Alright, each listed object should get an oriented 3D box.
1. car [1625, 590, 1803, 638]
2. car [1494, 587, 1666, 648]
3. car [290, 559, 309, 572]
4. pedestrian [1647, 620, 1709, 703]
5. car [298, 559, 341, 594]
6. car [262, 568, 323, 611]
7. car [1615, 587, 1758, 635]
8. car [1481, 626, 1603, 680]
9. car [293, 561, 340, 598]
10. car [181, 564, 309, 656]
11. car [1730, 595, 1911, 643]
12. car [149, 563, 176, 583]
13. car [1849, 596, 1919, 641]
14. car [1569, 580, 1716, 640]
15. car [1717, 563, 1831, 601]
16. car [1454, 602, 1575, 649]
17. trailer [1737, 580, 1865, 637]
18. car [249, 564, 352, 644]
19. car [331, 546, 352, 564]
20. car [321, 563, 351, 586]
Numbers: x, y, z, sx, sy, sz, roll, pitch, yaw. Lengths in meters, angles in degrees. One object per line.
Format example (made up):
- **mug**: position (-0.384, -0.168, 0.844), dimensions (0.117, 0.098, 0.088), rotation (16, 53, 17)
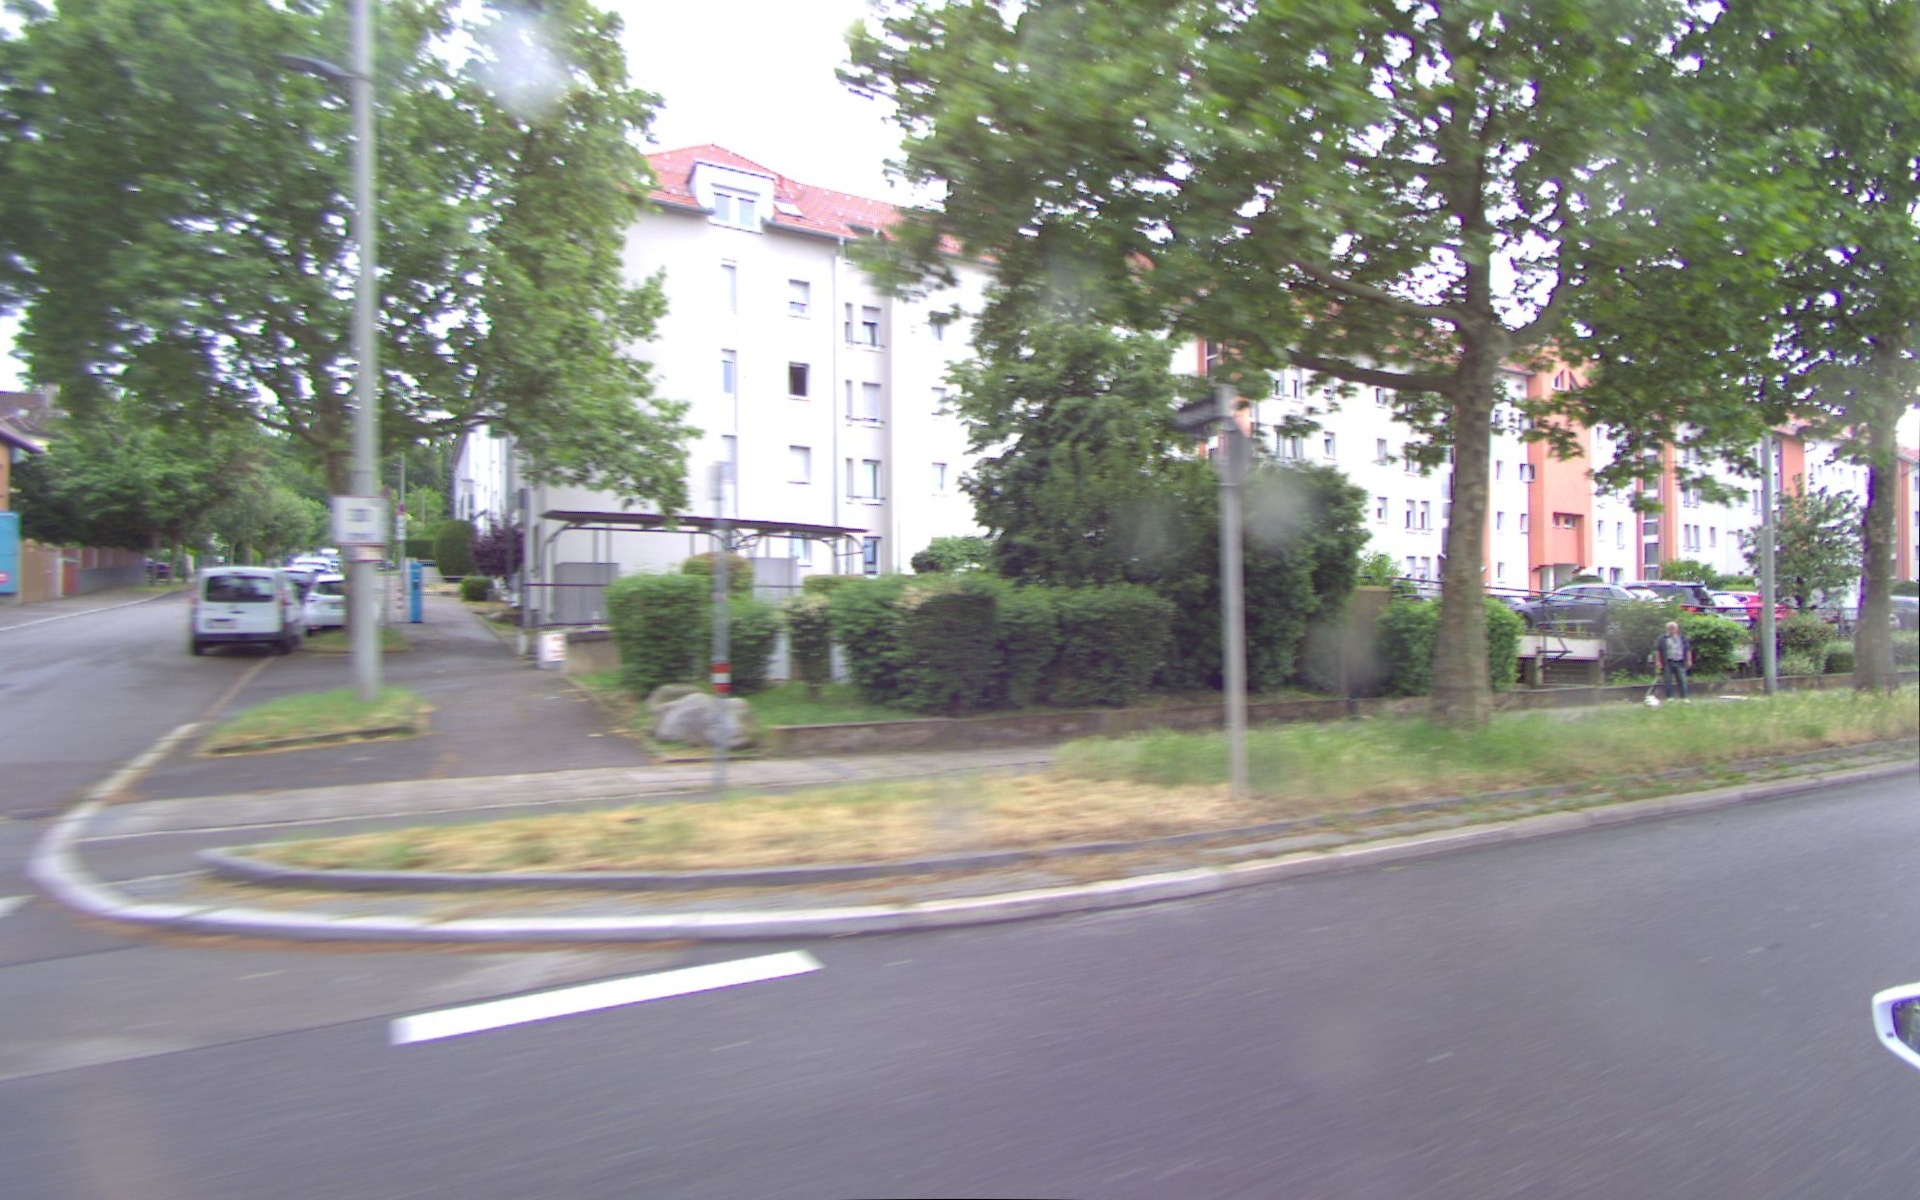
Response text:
- **car**: position (23.468, 0.415, 31.411), dimensions (1.788, 1.320, 4.070), rotation (3, 0, -29)
- **car**: position (17.222, 0.453, 28.050), dimensions (1.877, 1.518, 3.631), rotation (3, 0, -33)
- **car**: position (-58.040, -3.010, 88.253), dimensions (1.200, 1.077, 2.374), rotation (3, 0, -30)
- **pedestrian**: position (14.806, 1.254, 20.717), dimensions (0.826, 1.632, 0.750), rotation (2, 0, -34)
- **car**: position (-29.023, -1.059, 45.575), dimensions (1.367, 1.494, 3.133), rotation (3, 0, -29)
- **car**: position (-24.097, -0.386, 36.342), dimensions (1.551, 1.424, 2.951), rotation (3, 0, -29)
- **car**: position (21.445, 0.296, 29.752), dimensions (1.420, 1.287, 3.116), rotation (3, 0, -29)
- **car**: position (24.163, 2.145, 41.818), dimensions (1.974, 2.040, 3.972), rotation (1, 0, -27)
- **car**: position (-26.355, -0.844, 41.216), dimensions (1.375, 1.424, 2.951), rotation (3, 0, -29)
- **car**: position (-15.796, 0.166, 22.380), dimensions (1.858, 1.802, 3.968), rotation (3, 1, -30)
- **car**: position (29.358, 0.628, 34.413), dimensions (1.838, 1.443, 4.335), rotation (3, 0, -29)
- **car**: position (-45.048, -1.533, 56.780), dimensions (1.043, 1.077, 2.096), rotation (3, 0, -35)
- **car**: position (37.414, 0.756, 38.554), dimensions (1.977, 1.694, 4.523), rotation (3, 0, -30)
- **car**: position (19.345, 0.252, 28.584), dimensions (1.420, 1.563, 3.116), rotation (3, 0, -29)
- **car**: position (37.971, -0.836, 46.926), dimensions (1.699, 1.623, 3.790), rotation (3, 0, -31)
- **car**: position (22.392, 0.996, 40.713), dimensions (1.974, 1.773, 3.877), rotation (1, 0, -27)
- **trailer**: position (26.087, 0.255, 31.210), dimensions (1.462, 1.667, 2.693), rotation (2, 0, -29)
- **car**: position (-17.506, 0.052, 26.830), dimensions (1.859, 1.801, 3.968), rotation (7, -1, -30)
- **car**: position (-46.306, -3.365, 75.240), dimensions (1.226, 1.206, 2.487), rotation (3, 0, -29)
- **car**: position (-33.766, -1.392, 54.387), dimensions (1.226, 1.137, 2.487), rotation (3, 0, -29)
